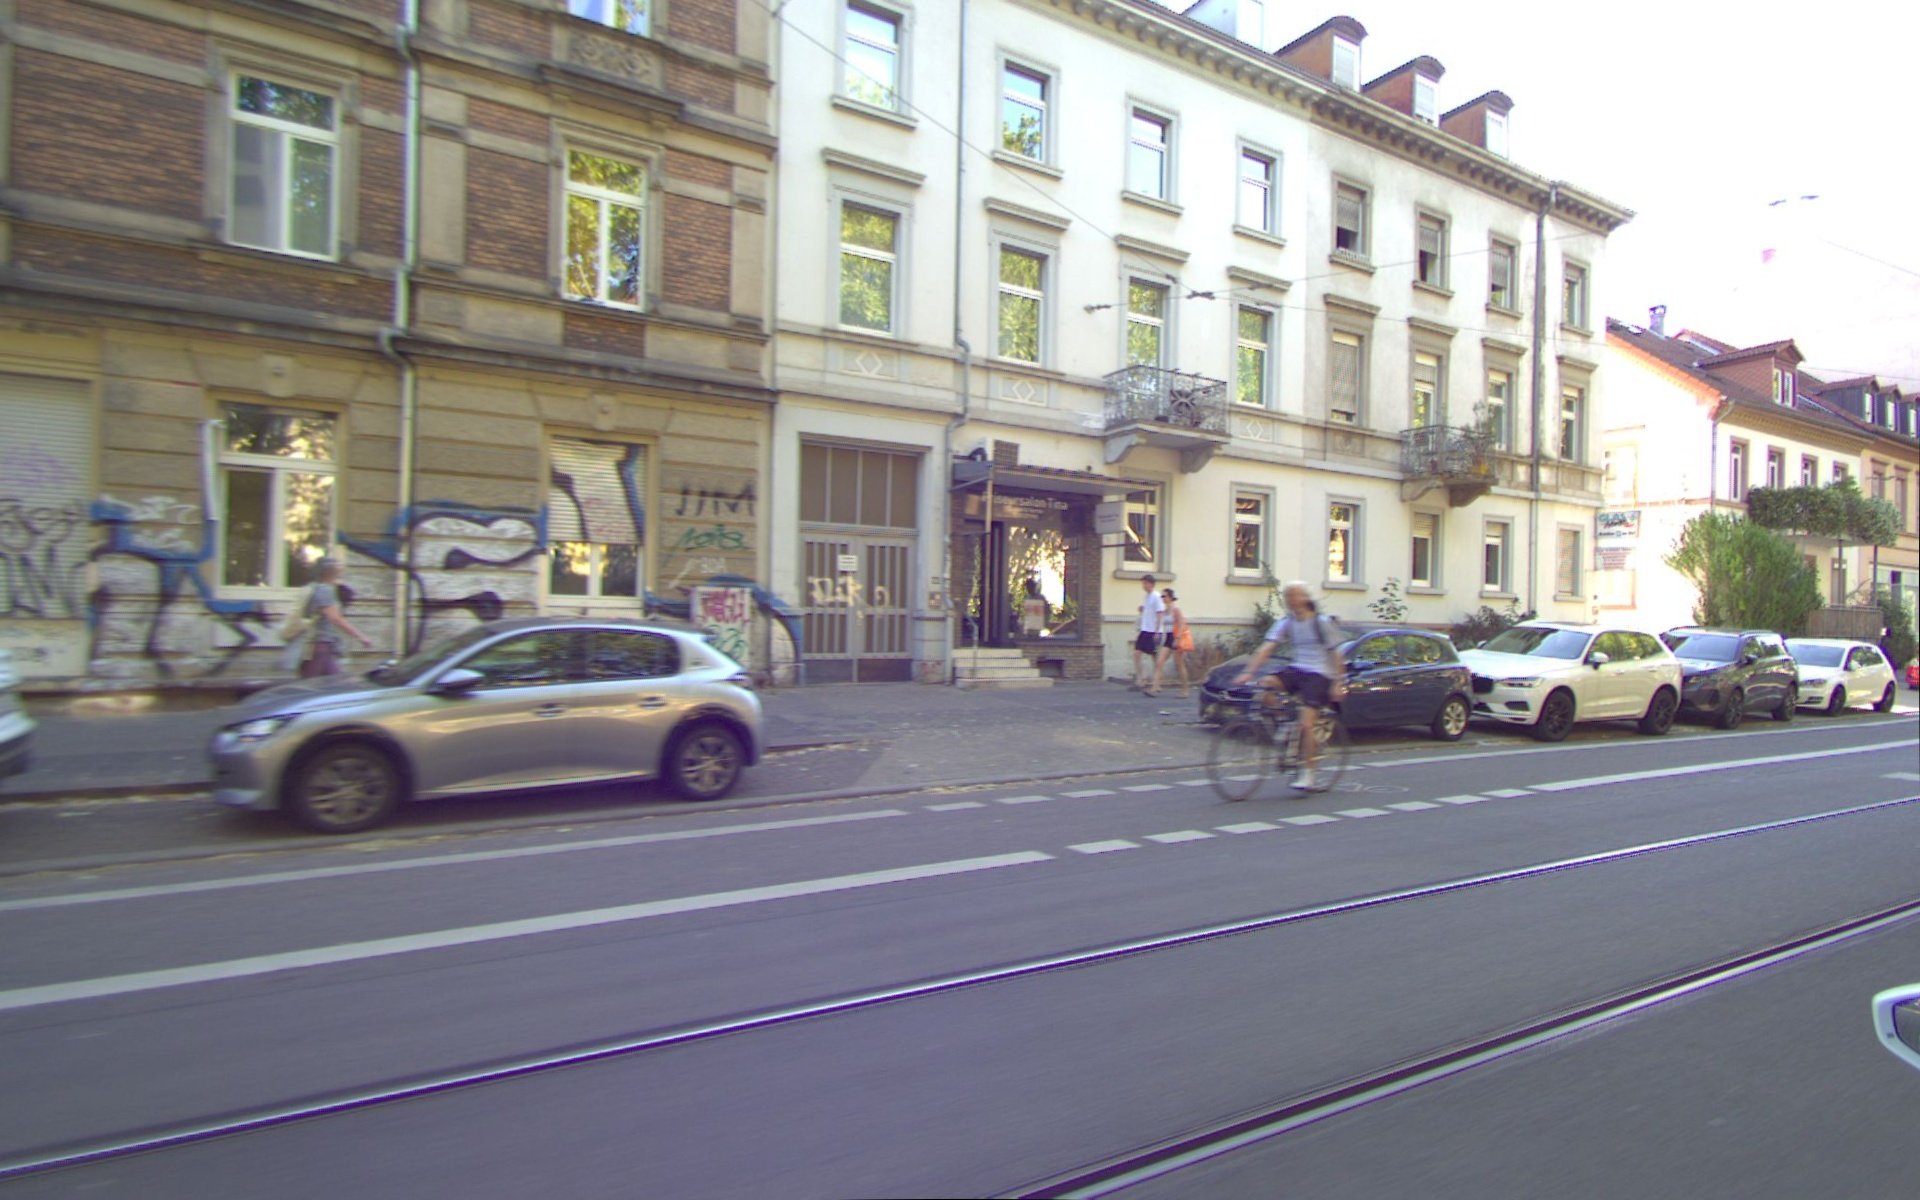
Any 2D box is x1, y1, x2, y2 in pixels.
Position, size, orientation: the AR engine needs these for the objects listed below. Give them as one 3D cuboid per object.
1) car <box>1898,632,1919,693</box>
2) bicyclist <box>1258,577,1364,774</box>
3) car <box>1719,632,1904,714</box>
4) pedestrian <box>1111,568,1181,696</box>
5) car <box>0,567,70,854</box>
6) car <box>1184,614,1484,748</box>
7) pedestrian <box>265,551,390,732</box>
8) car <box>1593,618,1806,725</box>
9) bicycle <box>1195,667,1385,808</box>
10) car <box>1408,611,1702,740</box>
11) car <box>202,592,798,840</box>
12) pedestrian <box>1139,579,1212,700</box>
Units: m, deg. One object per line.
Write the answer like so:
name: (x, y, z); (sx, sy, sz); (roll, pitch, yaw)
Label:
car: (26.697, 1.668, 26.656); (3.404, 1.583, 1.564); (1, -1, -27)
bicyclist: (3.108, 0.648, 8.899); (0.790, 1.657, 0.471); (1, -1, -30)
car: (18.041, 1.488, 21.239); (4.208, 1.496, 1.678); (2, 1, -31)
pedestrian: (3.080, 0.521, 16.654); (0.821, 2.040, 0.755); (1, 0, -32)
car: (-8.068, 0.599, 5.349); (4.664, 1.746, 1.777); (2, 0, -31)
car: (4.959, 0.993, 13.218); (3.875, 1.535, 1.548); (1, -1, -28)
pedestrian: (-6.183, 0.394, 9.847); (0.753, 1.687, 0.664); (2, 1, 1)
car: (13.634, 1.229, 18.435); (4.614, 1.726, 1.844); (2, -1, -36)
bicycle: (2.916, 1.158, 8.803); (1.824, 1.100, 0.478); (2, -1, -30)
car: (9.267, 1.083, 15.556); (4.706, 1.726, 1.848); (2, -1, -30)
car: (-3.527, 0.787, 8.151); (4.021, 1.541, 1.653); (2, 0, -33)
pedestrian: (3.408, 0.615, 15.903); (0.821, 1.845, 0.755); (1, 0, -33)
